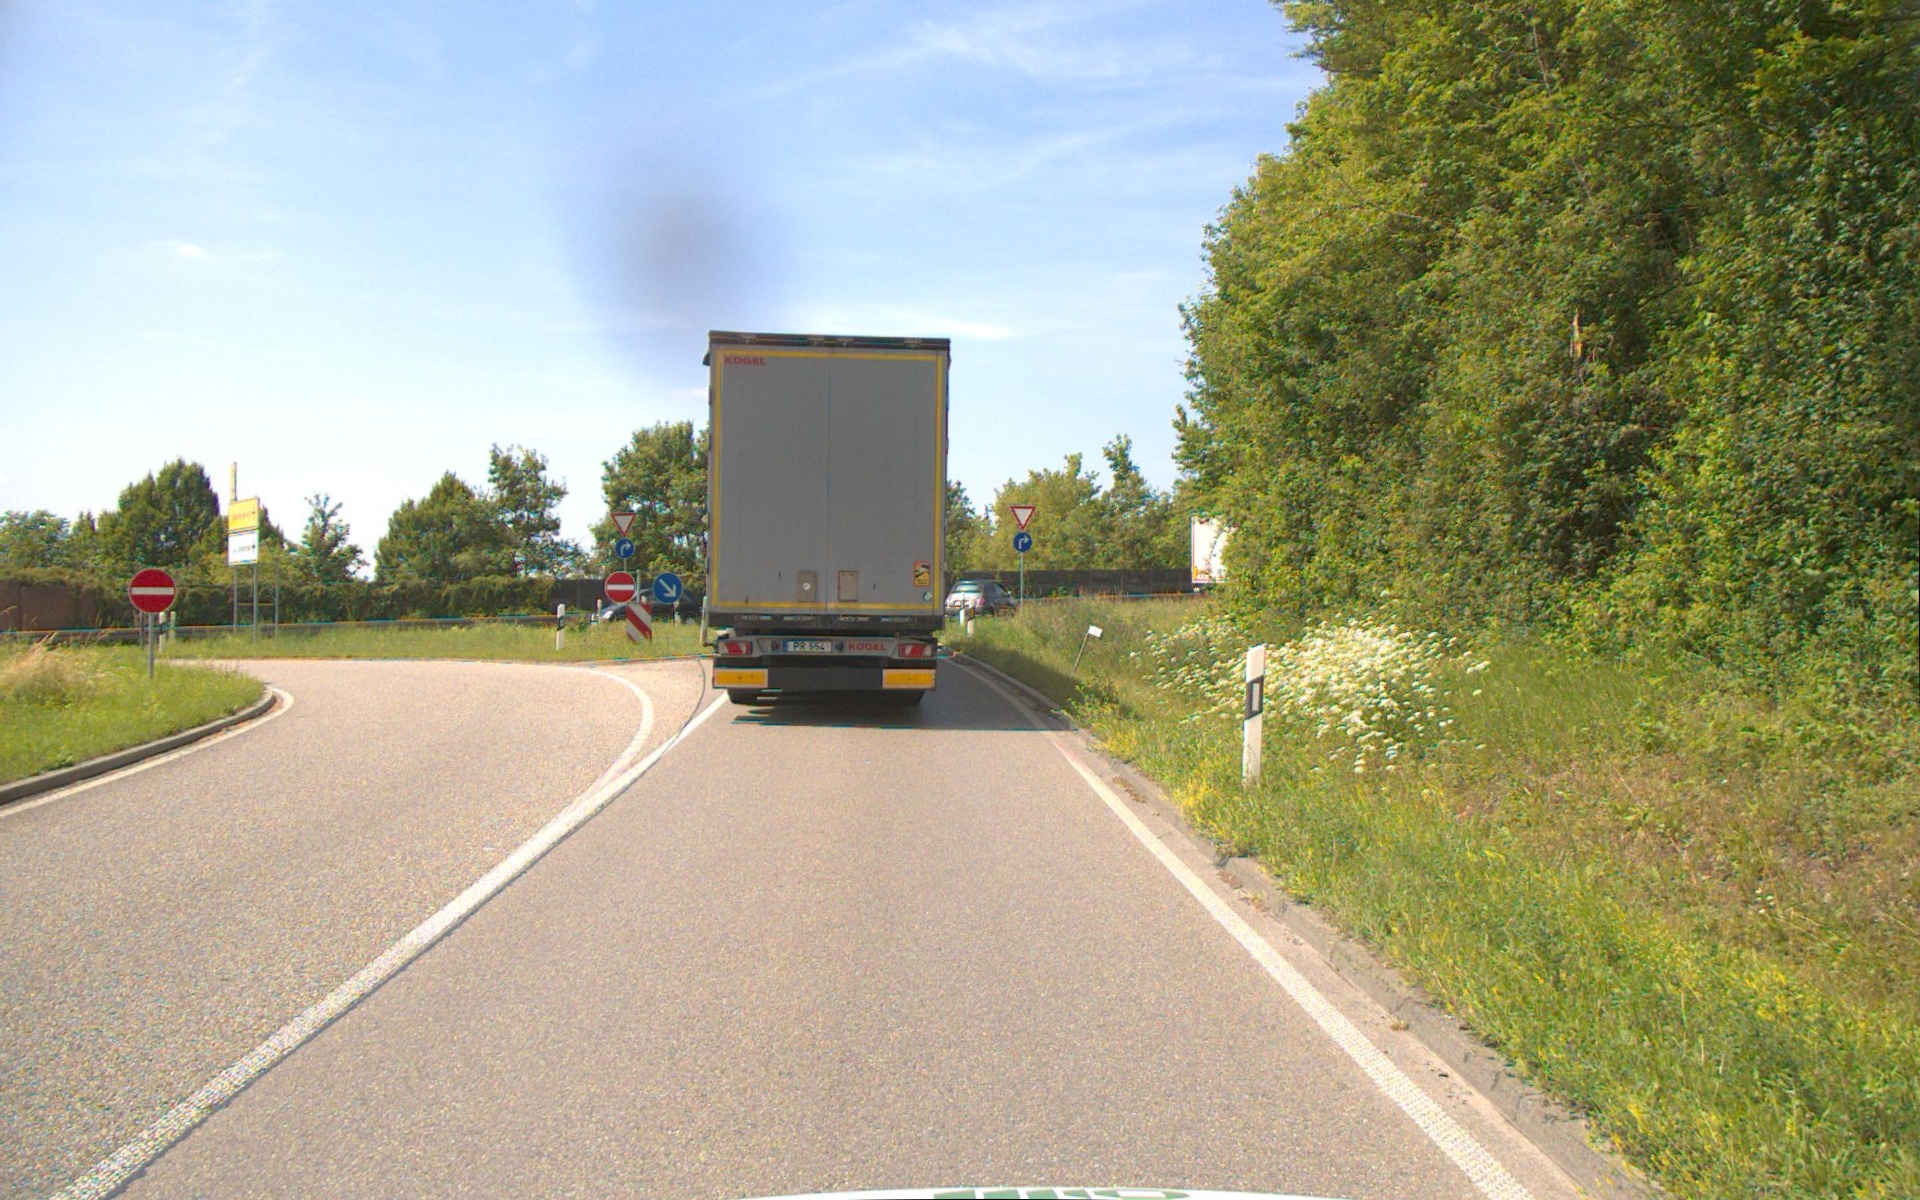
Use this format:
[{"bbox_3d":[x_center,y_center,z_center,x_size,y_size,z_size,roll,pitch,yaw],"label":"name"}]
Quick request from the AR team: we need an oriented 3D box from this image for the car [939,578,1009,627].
[{"bbox_3d":[0.489,0.052,53.502,1.630,1.512,4.004,-1,1,9],"label":"car"}]

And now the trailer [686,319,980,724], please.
[{"bbox_3d":[-1.710,-0.907,23.558,2.967,4.105,13.343,0,1,-4],"label":"trailer"}]

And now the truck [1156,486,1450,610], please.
[{"bbox_3d":[15.200,-2.201,71.492,16.069,4.827,3.781,-2,0,-43],"label":"truck"}]

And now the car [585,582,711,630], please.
[{"bbox_3d":[-11.072,0.186,58.760,4.060,1.565,1.734,-1,1,-35],"label":"car"}]
